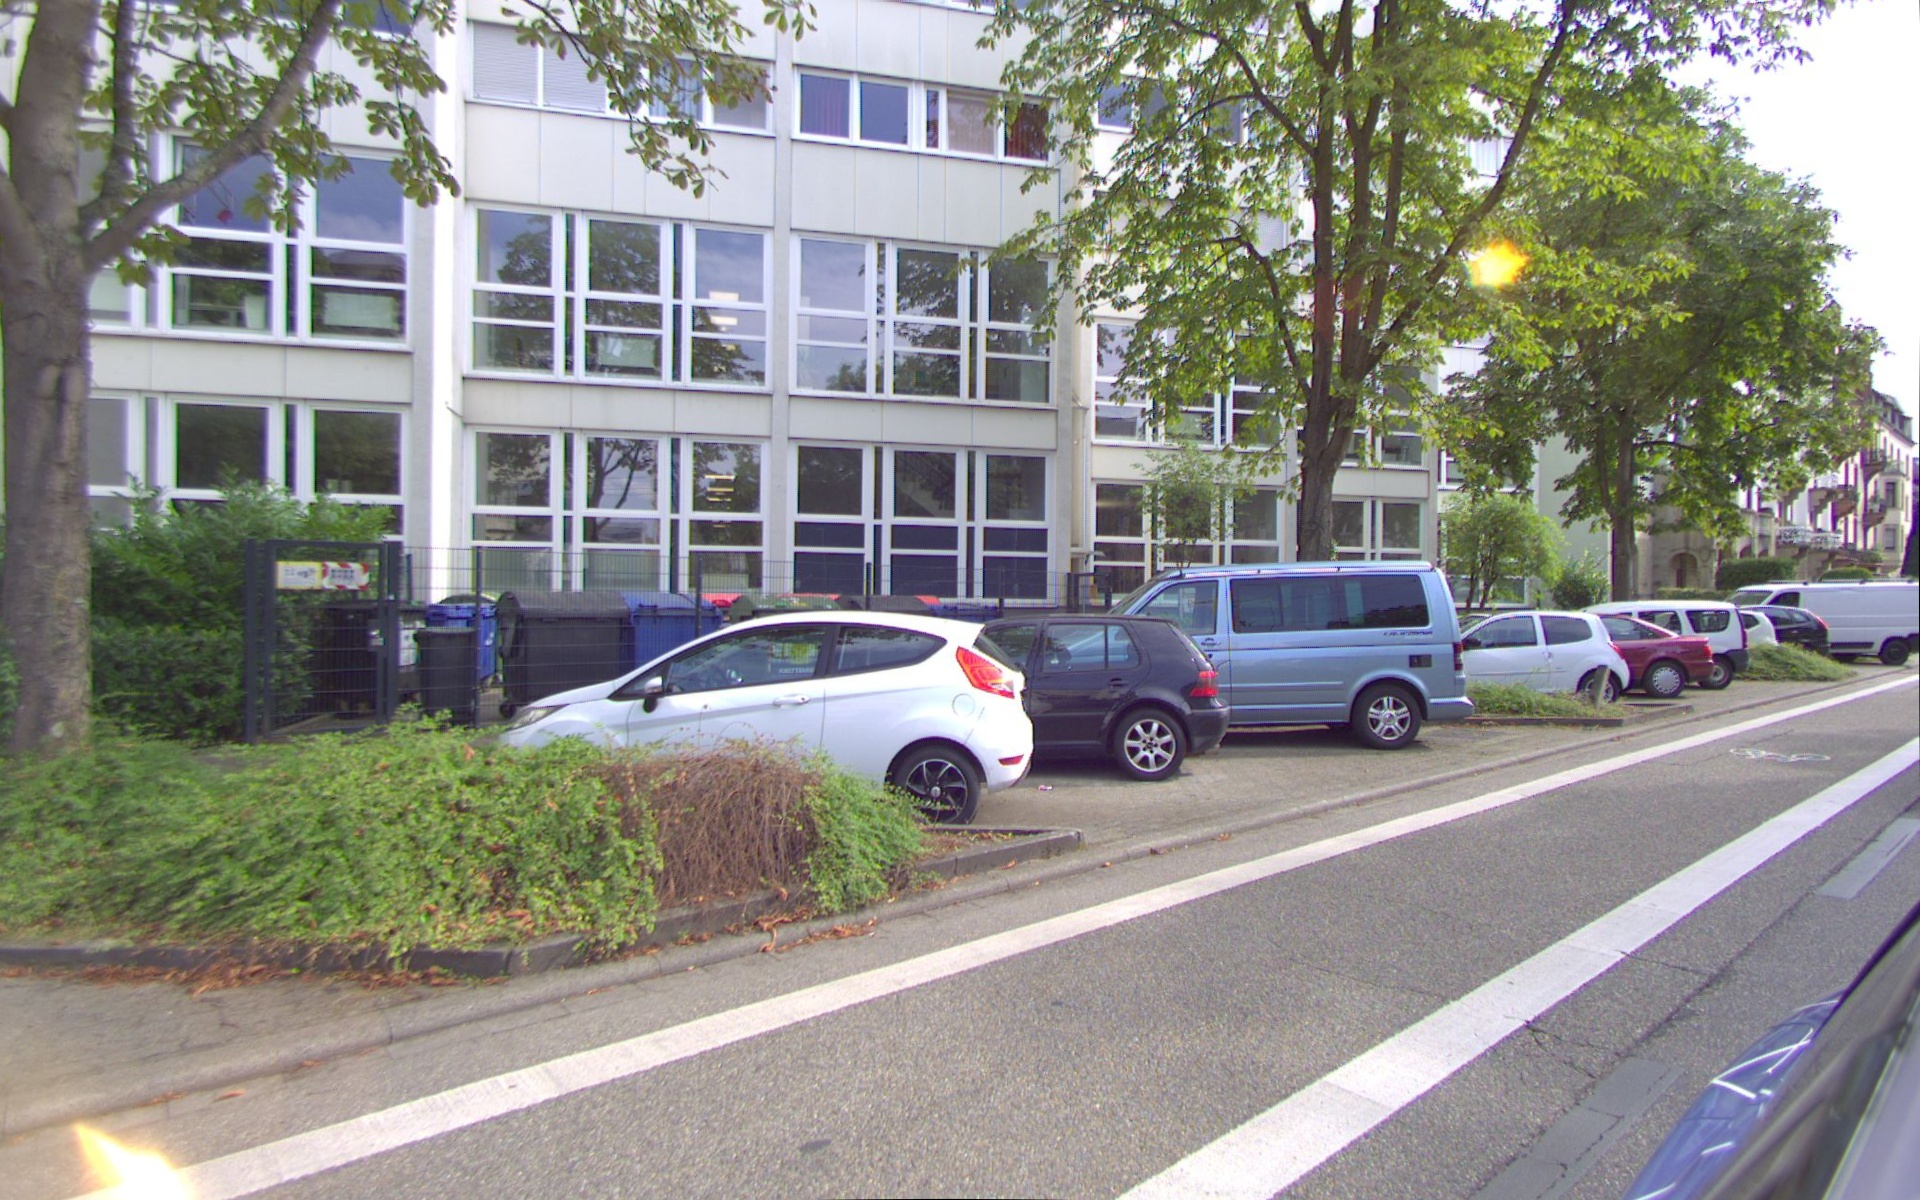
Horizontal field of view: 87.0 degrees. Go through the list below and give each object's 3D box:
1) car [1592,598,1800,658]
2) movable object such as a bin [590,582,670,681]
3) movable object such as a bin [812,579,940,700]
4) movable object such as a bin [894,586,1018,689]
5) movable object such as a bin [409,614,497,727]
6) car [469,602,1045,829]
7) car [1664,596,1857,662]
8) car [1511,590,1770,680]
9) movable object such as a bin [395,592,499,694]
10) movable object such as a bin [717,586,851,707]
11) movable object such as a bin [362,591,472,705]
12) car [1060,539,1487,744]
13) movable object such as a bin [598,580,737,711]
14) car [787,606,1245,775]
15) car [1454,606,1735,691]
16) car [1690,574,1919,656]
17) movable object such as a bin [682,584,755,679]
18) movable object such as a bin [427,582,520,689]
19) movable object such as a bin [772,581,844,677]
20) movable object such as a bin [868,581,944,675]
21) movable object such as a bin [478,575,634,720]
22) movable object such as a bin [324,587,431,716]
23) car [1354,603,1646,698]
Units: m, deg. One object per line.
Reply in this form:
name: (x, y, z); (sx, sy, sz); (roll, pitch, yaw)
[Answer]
car: (17.394, 0.643, 24.076); (3.580, 1.347, 1.766); (0, 0, 5)
movable object such as a bin: (-5.484, 0.506, 16.906); (1.150, 1.588, 1.182); (0, 0, -12)
movable object such as a bin: (-1.207, 0.525, 14.465); (1.328, 1.616, 1.335); (0, 0, -36)
movable object such as a bin: (-0.070, 0.534, 15.486); (1.374, 1.477, 1.335); (0, 0, -36)
movable object such as a bin: (-5.377, 0.717, 10.720); (0.729, 1.119, 0.786); (0, 0, -34)
car: (-1.306, 0.735, 7.376); (3.792, 1.410, 1.632); (0, 0, 4)
car: (20.740, 0.700, 26.409); (3.605, 1.609, 1.753); (0, 0, 24)
car: (13.009, 0.624, 19.577); (3.708, 1.638, 1.810); (0, 0, 9)
movable object such as a bin: (-7.294, 0.584, 14.460); (1.155, 1.387, 1.177); (0, 0, -19)
movable object such as a bin: (-2.381, 0.580, 13.610); (1.328, 1.521, 1.335); (0, 0, -36)
movable object such as a bin: (-7.017, 0.589, 13.149); (1.095, 1.409, 1.065); (0, 0, -19)
car: (3.311, 0.407, 11.490); (4.268, 2.090, 1.998); (0, 0, 5)
movable object such as a bin: (-3.689, 0.525, 12.732); (1.312, 1.523, 1.335); (0, 0, -36)
car: (0.502, 0.777, 9.553); (3.902, 1.405, 1.812); (0, -1, 5)
car: (10.890, 0.796, 17.640); (3.708, 1.355, 1.810); (0, 0, 9)
car: (23.939, 0.385, 28.240); (5.349, 2.203, 2.143); (0, 0, 9)
movable object such as a bin: (-4.051, 0.510, 17.049); (1.150, 1.533, 1.182); (0, 0, -12)
movable object such as a bin: (-7.567, 0.526, 15.811); (1.155, 1.588, 1.177); (0, 0, -19)
movable object such as a bin: (-2.633, 0.483, 17.444); (1.150, 1.588, 1.182); (0, 0, -12)
movable object such as a bin: (-0.963, 0.469, 17.746); (1.150, 1.588, 1.182); (0, 0, -12)
movable object such as a bin: (-4.680, 0.502, 11.706); (1.389, 1.549, 1.330); (0, 0, -36)
movable object such as a bin: (-6.782, 0.567, 11.834); (0.893, 1.425, 1.026); (0, 0, -19)
car: (8.252, 0.736, 15.739); (3.580, 1.347, 1.766); (0, 0, 5)
